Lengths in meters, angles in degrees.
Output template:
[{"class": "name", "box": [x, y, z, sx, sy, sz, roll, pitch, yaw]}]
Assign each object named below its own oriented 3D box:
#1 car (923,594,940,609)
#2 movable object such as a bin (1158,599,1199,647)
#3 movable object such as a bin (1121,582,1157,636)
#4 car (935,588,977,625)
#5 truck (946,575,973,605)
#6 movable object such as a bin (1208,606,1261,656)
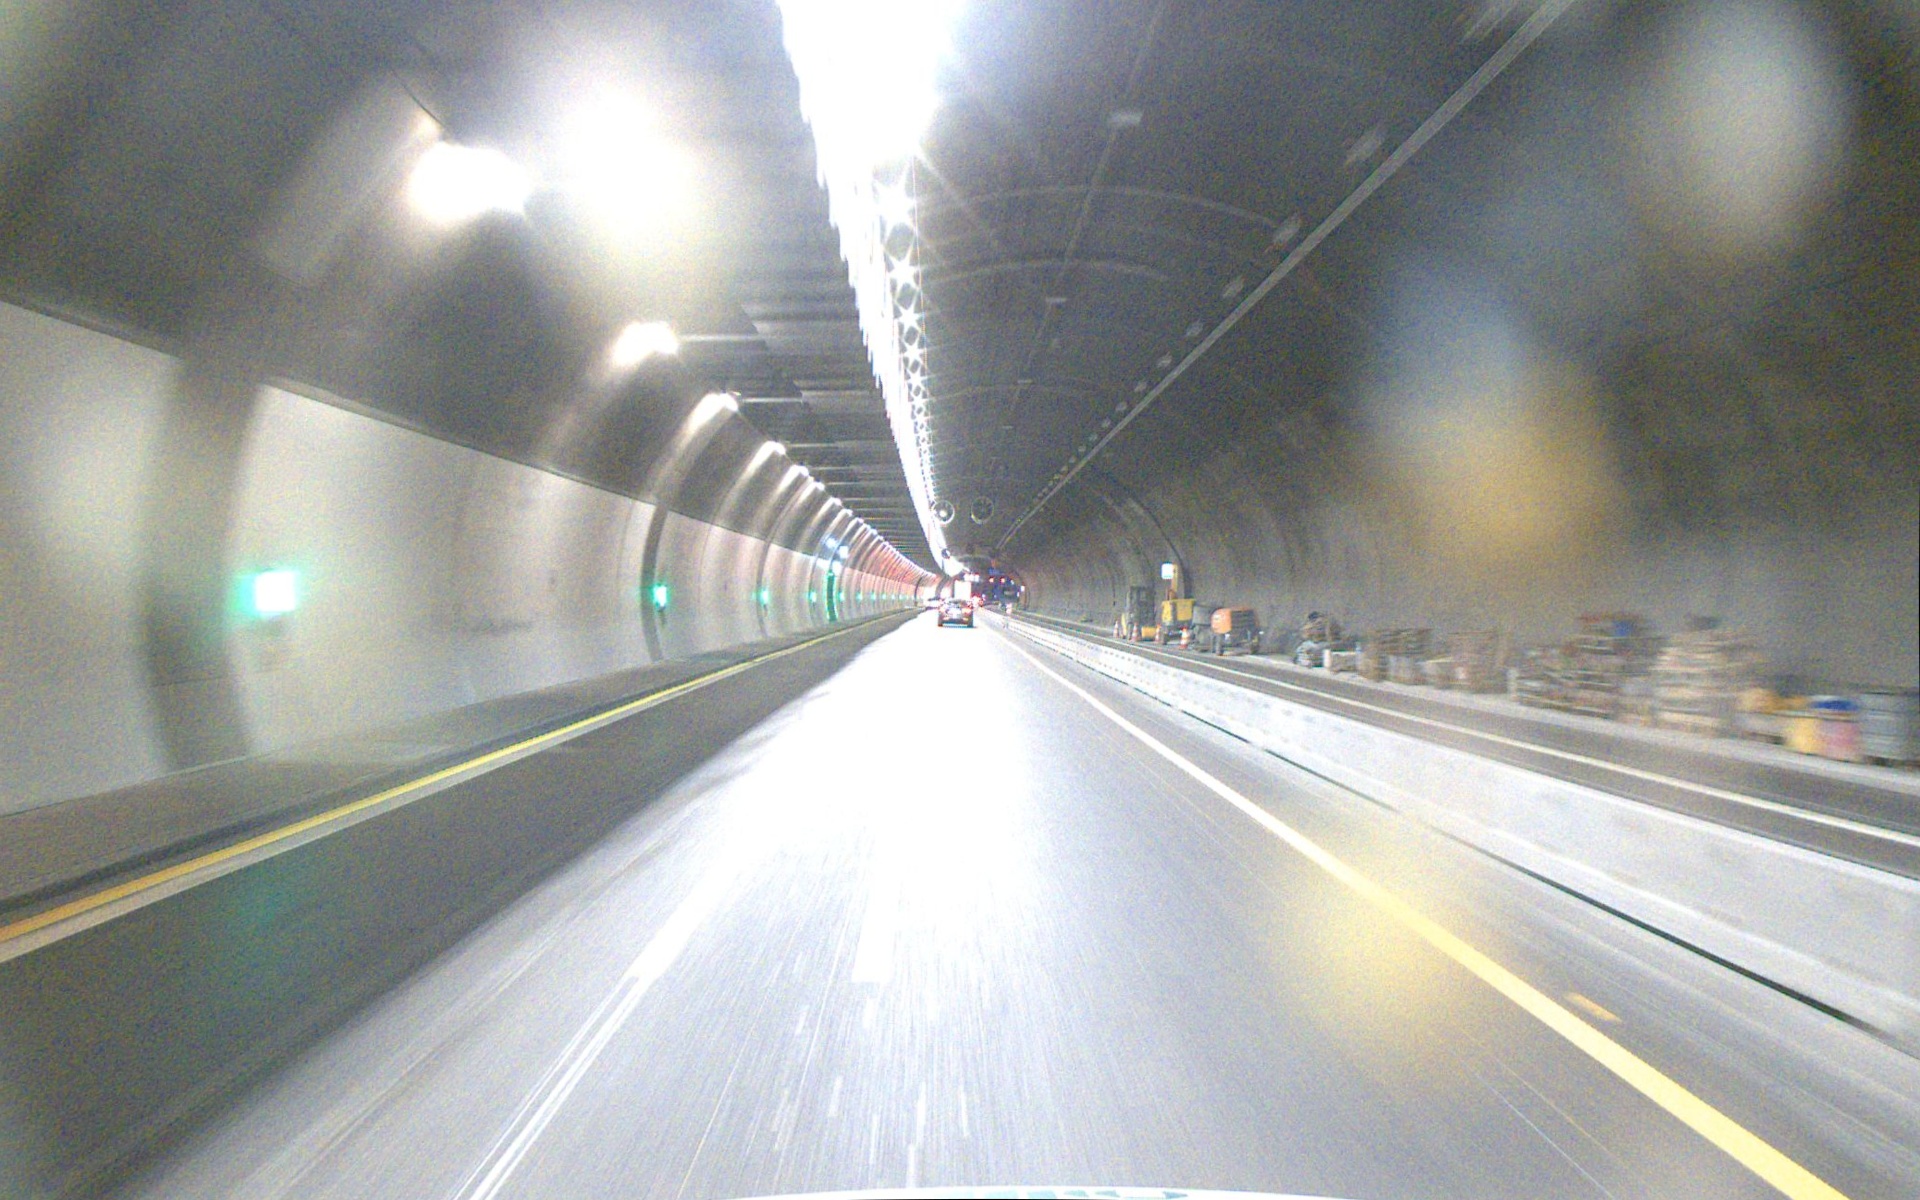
[{"class": "car", "box": [-3.392, 0.184, 197.270, 1.891, 1.716, 4.000, -2, 0, 0]}, {"class": "movable object such as a bin", "box": [8.146, 0.832, 61.710, 1.209, 1.749, 2.216, 0, 0, -1]}, {"class": "movable object such as a bin", "box": [7.364, 0.358, 68.264, 1.209, 2.178, 2.216, 0, 0, -1]}, {"class": "car", "box": [-0.249, 0.343, 86.602, 1.908, 1.826, 3.997, -2, 0, -4]}, {"class": "truck", "box": [-0.111, -1.550, 263.886, 3.983, 4.612, 14.963, -2, 0, 0]}, {"class": "movable object such as a bin", "box": [8.340, 0.938, 50.332, 1.209, 1.467, 2.216, 0, 0, -1]}]
